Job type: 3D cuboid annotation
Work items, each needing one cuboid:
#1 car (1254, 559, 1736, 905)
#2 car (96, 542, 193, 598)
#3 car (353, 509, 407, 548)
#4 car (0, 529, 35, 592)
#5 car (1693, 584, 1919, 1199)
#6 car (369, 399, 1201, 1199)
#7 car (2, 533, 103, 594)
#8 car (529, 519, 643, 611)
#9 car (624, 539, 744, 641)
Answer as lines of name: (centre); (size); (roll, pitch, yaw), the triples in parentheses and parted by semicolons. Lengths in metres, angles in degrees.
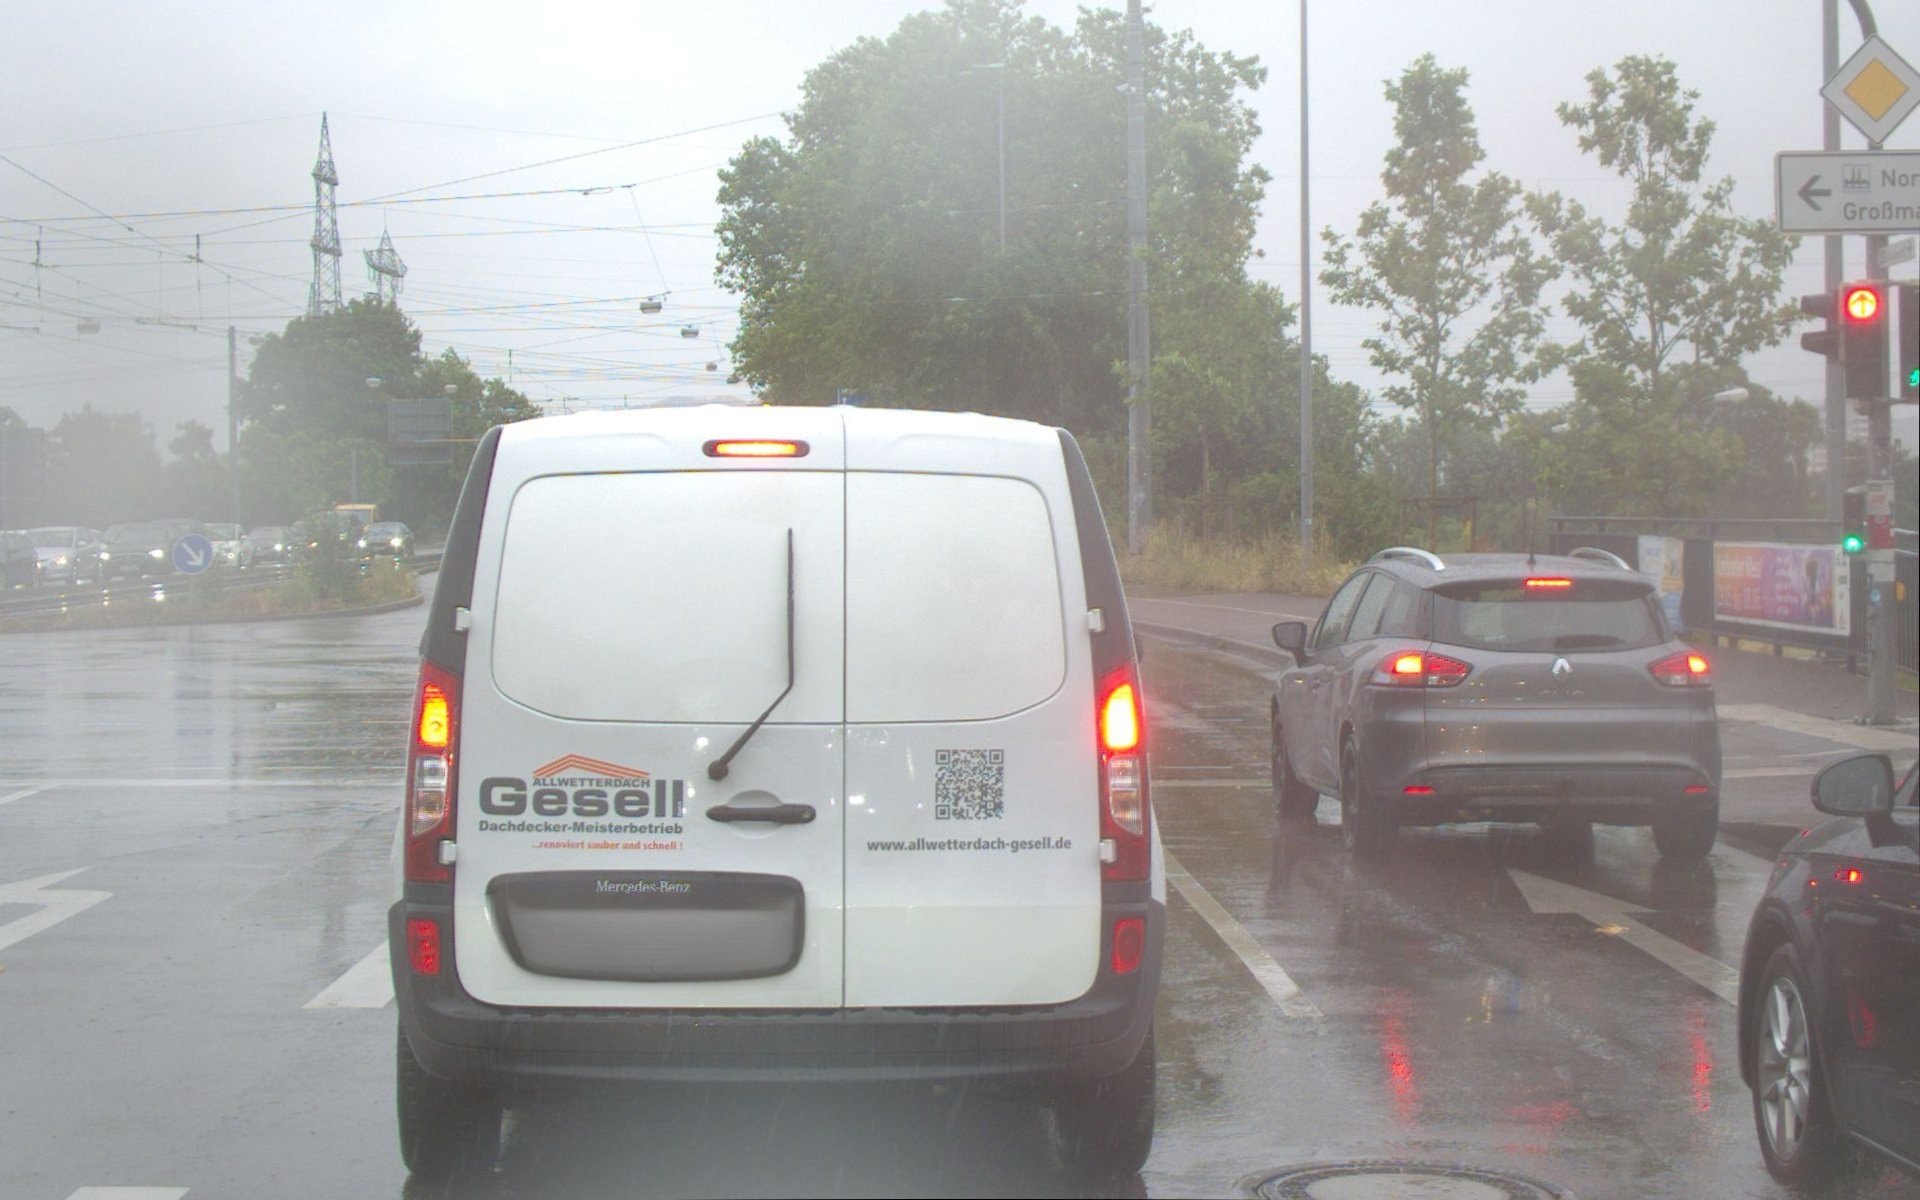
car: (2.548, 0.566, 17.253); (1.684, 1.503, 3.921); (1, 1, -1)
car: (-22.001, -0.793, 92.861); (1.710, 1.421, 3.809); (2, 0, -1)
car: (-23.286, -2.861, 138.172); (1.559, 1.421, 3.569); (2, 0, -1)
car: (-22.548, -0.921, 79.057); (1.559, 1.421, 3.569); (2, 0, -1)
car: (2.656, 0.665, 6.509); (1.597, 1.361, 3.631); (-1, 1, -3)
car: (-0.515, 0.394, 9.399); (1.754, 1.744, 4.170); (1, 2, -4)
car: (-22.567, -0.891, 85.546); (1.559, 1.421, 3.569); (2, 0, -1)
car: (-7.230, -0.650, 66.802); (1.947, 1.656, 4.465); (2, 0, -4)
car: (-4.253, -0.136, 52.483); (1.711, 1.446, 4.200); (2, 0, -6)
